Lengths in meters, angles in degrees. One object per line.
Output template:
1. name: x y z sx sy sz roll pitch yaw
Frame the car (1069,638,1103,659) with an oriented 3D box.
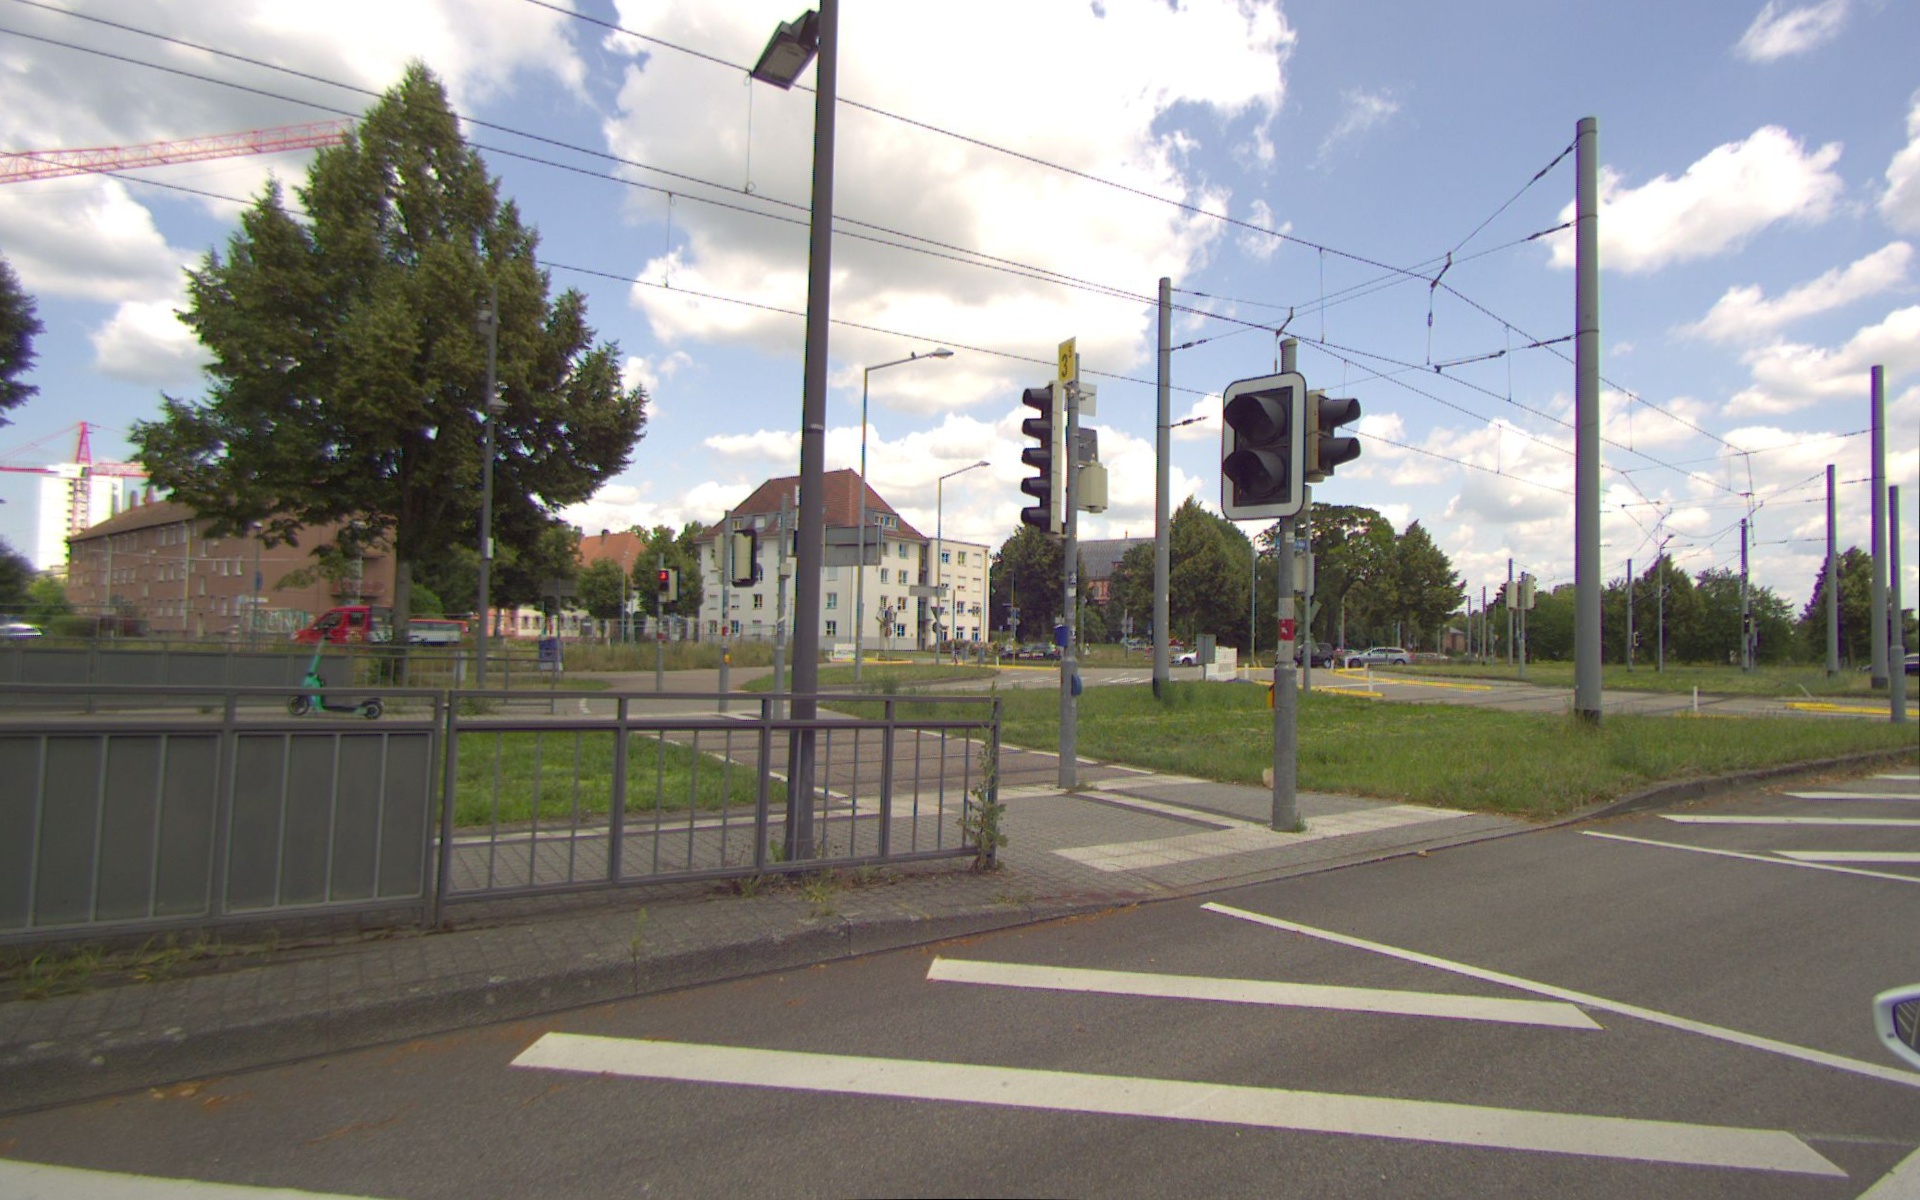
1. car: 12.754 4.873 101.579 1.965 2.040 3.991 0 -2 31

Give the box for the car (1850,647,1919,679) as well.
1. car: 53.219 3.517 56.190 4.991 1.697 1.992 -1 -2 38

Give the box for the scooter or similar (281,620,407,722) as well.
1. scooter or similar: -8.457 0.972 13.829 1.323 1.319 0.418 4 -2 -13

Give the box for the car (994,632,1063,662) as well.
1. car: 4.816 3.255 70.129 4.629 2.040 2.002 0 -2 9

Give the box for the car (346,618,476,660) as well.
1. car: -26.494 1.892 48.642 5.097 1.876 2.082 1 -2 -14

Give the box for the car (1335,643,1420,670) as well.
1. car: 28.104 3.803 67.726 4.846 1.648 2.066 1 0 0

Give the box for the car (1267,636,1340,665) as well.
1. car: 24.816 3.626 72.536 4.645 2.040 1.995 1 -2 -14

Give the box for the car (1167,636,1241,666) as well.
1. car: 16.899 3.544 69.689 4.649 2.040 1.993 1 -2 -17

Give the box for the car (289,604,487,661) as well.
1. car: -23.746 1.373 42.006 6.714 2.226 2.391 1 -2 -9
